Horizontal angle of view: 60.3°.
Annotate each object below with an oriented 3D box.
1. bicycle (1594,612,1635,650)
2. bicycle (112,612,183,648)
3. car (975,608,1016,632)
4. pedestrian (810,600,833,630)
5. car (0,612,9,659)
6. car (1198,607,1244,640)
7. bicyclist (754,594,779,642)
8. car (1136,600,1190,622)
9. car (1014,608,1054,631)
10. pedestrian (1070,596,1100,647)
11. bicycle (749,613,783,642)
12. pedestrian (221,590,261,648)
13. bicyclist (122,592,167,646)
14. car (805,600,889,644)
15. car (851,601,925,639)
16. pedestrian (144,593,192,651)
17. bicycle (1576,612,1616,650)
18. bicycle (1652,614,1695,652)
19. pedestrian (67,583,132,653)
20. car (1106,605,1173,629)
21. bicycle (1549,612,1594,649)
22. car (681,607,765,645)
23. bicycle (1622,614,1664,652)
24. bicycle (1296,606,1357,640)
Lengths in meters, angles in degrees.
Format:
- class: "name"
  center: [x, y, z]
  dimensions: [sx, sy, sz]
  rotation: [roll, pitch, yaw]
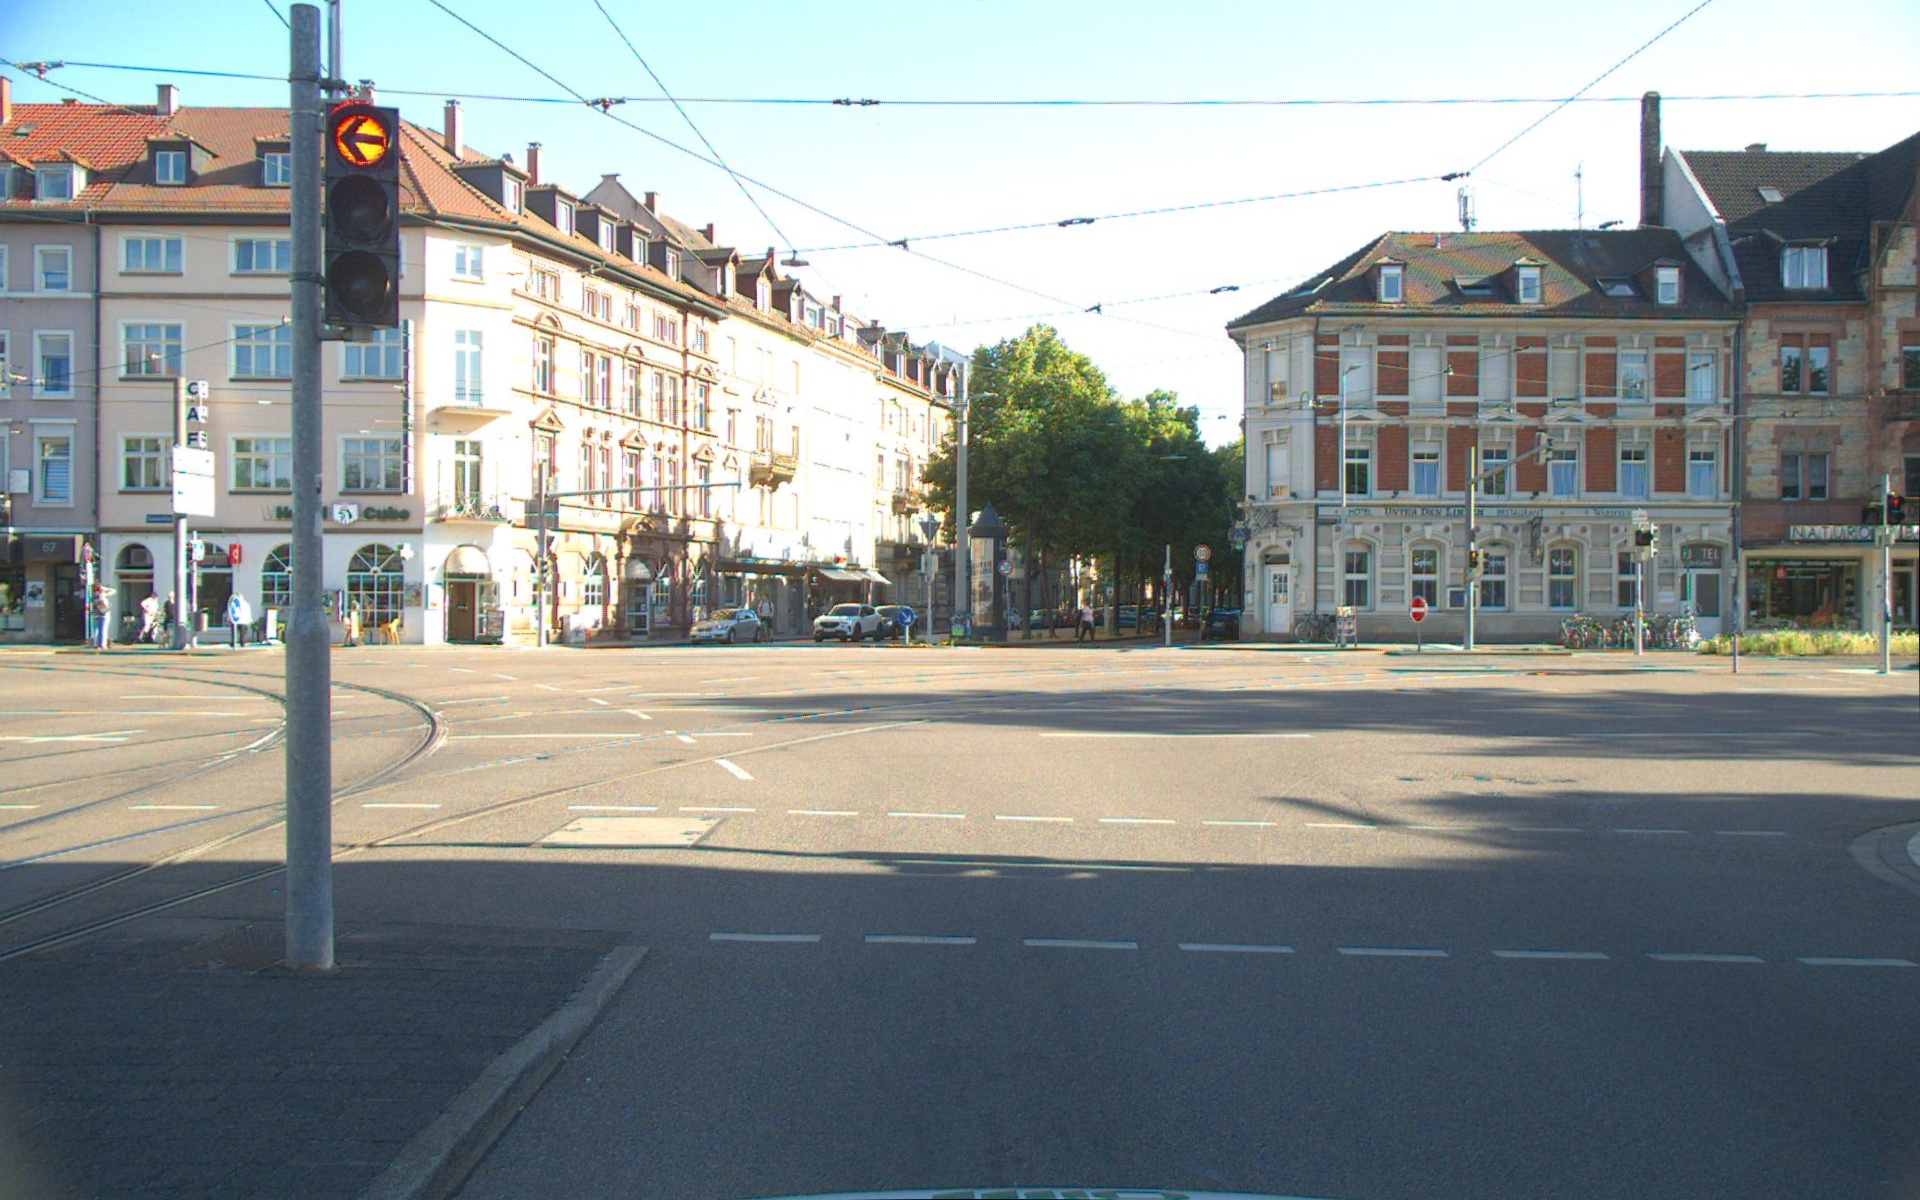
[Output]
- class: "bicycle"
  center: [21.160, 0.988, 53.514]
  dimensions: [0.605, 1.163, 2.175]
  rotation: [0, 0, 4]
- class: "bicycle"
  center: [-27.363, 0.995, 55.702]
  dimensions: [2.048, 1.202, 0.631]
  rotation: [0, 0, -1]
- class: "car"
  center: [2.405, 1.318, 110.994]
  dimensions: [1.951, 1.512, 4.003]
  rotation: [0, 0, 13]
- class: "pedestrian"
  center: [-7.231, 0.774, 86.530]
  dimensions: [0.908, 1.562, 1.138]
  rotation: [0, 0, 13]
- class: "car"
  center: [-32.403, 1.140, 51.948]
  dimensions: [3.907, 1.478, 1.999]
  rotation: [0, 0, -3]
- class: "car"
  center: [13.064, 1.153, 82.638]
  dimensions: [1.951, 1.613, 4.003]
  rotation: [0, 0, 13]
- class: "bicyclist"
  center: [-7.590, 0.689, 64.935]
  dimensions: [0.664, 1.852, 1.071]
  rotation: [0, 0, 12]
- class: "car"
  center: [16.410, 0.876, 133.877]
  dimensions: [3.912, 1.736, 1.996]
  rotation: [0, 0, 30]
- class: "car"
  center: [5.519, 1.417, 122.742]
  dimensions: [1.951, 1.640, 4.393]
  rotation: [0, 0, 17]
- class: "pedestrian"
  center: [4.367, 0.744, 57.828]
  dimensions: [1.024, 1.774, 0.809]
  rotation: [0, 0, 5]
- class: "bicycle"
  center: [-7.601, 1.076, 64.893]
  dimensions: [0.665, 1.085, 2.127]
  rotation: [0, 0, 12]
- class: "pedestrian"
  center: [-22.687, 0.584, 52.216]
  dimensions: [0.998, 1.806, 0.930]
  rotation: [0, 0, -36]
- class: "bicyclist"
  center: [-27.443, 0.627, 55.644]
  dimensions: [1.142, 1.806, 0.748]
  rotation: [0, 0, -2]
- class: "car"
  center: [-4.548, 0.879, 67.257]
  dimensions: [1.951, 1.713, 4.393]
  rotation: [0, 0, 17]
- class: "car"
  center: [-3.154, 0.856, 73.792]
  dimensions: [1.951, 1.640, 4.393]
  rotation: [0, 0, 17]
- class: "pedestrian"
  center: [-24.897, 0.680, 52.009]
  dimensions: [0.985, 1.806, 0.942]
  rotation: [0, 0, 14]
- class: "bicycle"
  center: [20.588, 0.993, 53.544]
  dimensions: [0.605, 1.163, 2.175]
  rotation: [0, 0, 4]
- class: "bicycle"
  center: [23.032, 1.053, 53.403]
  dimensions: [0.596, 1.156, 2.136]
  rotation: [0, 0, 4]
- class: "pedestrian"
  center: [-21.571, 0.445, 41.496]
  dimensions: [1.058, 1.714, 1.103]
  rotation: [0, 0, -1]
- class: "car"
  center: [12.551, 1.191, 115.538]
  dimensions: [4.290, 1.640, 1.998]
  rotation: [0, 0, 26]
- class: "bicycle"
  center: [19.817, 0.983, 53.663]
  dimensions: [0.789, 1.163, 2.175]
  rotation: [0, 0, 4]
- class: "car"
  center: [-9.531, 1.030, 66.903]
  dimensions: [1.858, 1.481, 4.002]
  rotation: [0, 0, 17]
- class: "bicycle"
  center: [22.068, 1.050, 53.455]
  dimensions: [0.605, 1.163, 2.175]
  rotation: [0, 0, 4]
- class: "bicycle"
  center: [12.746, 0.813, 57.587]
  dimensions: [2.045, 1.144, 0.366]
  rotation: [1, -1, -5]
